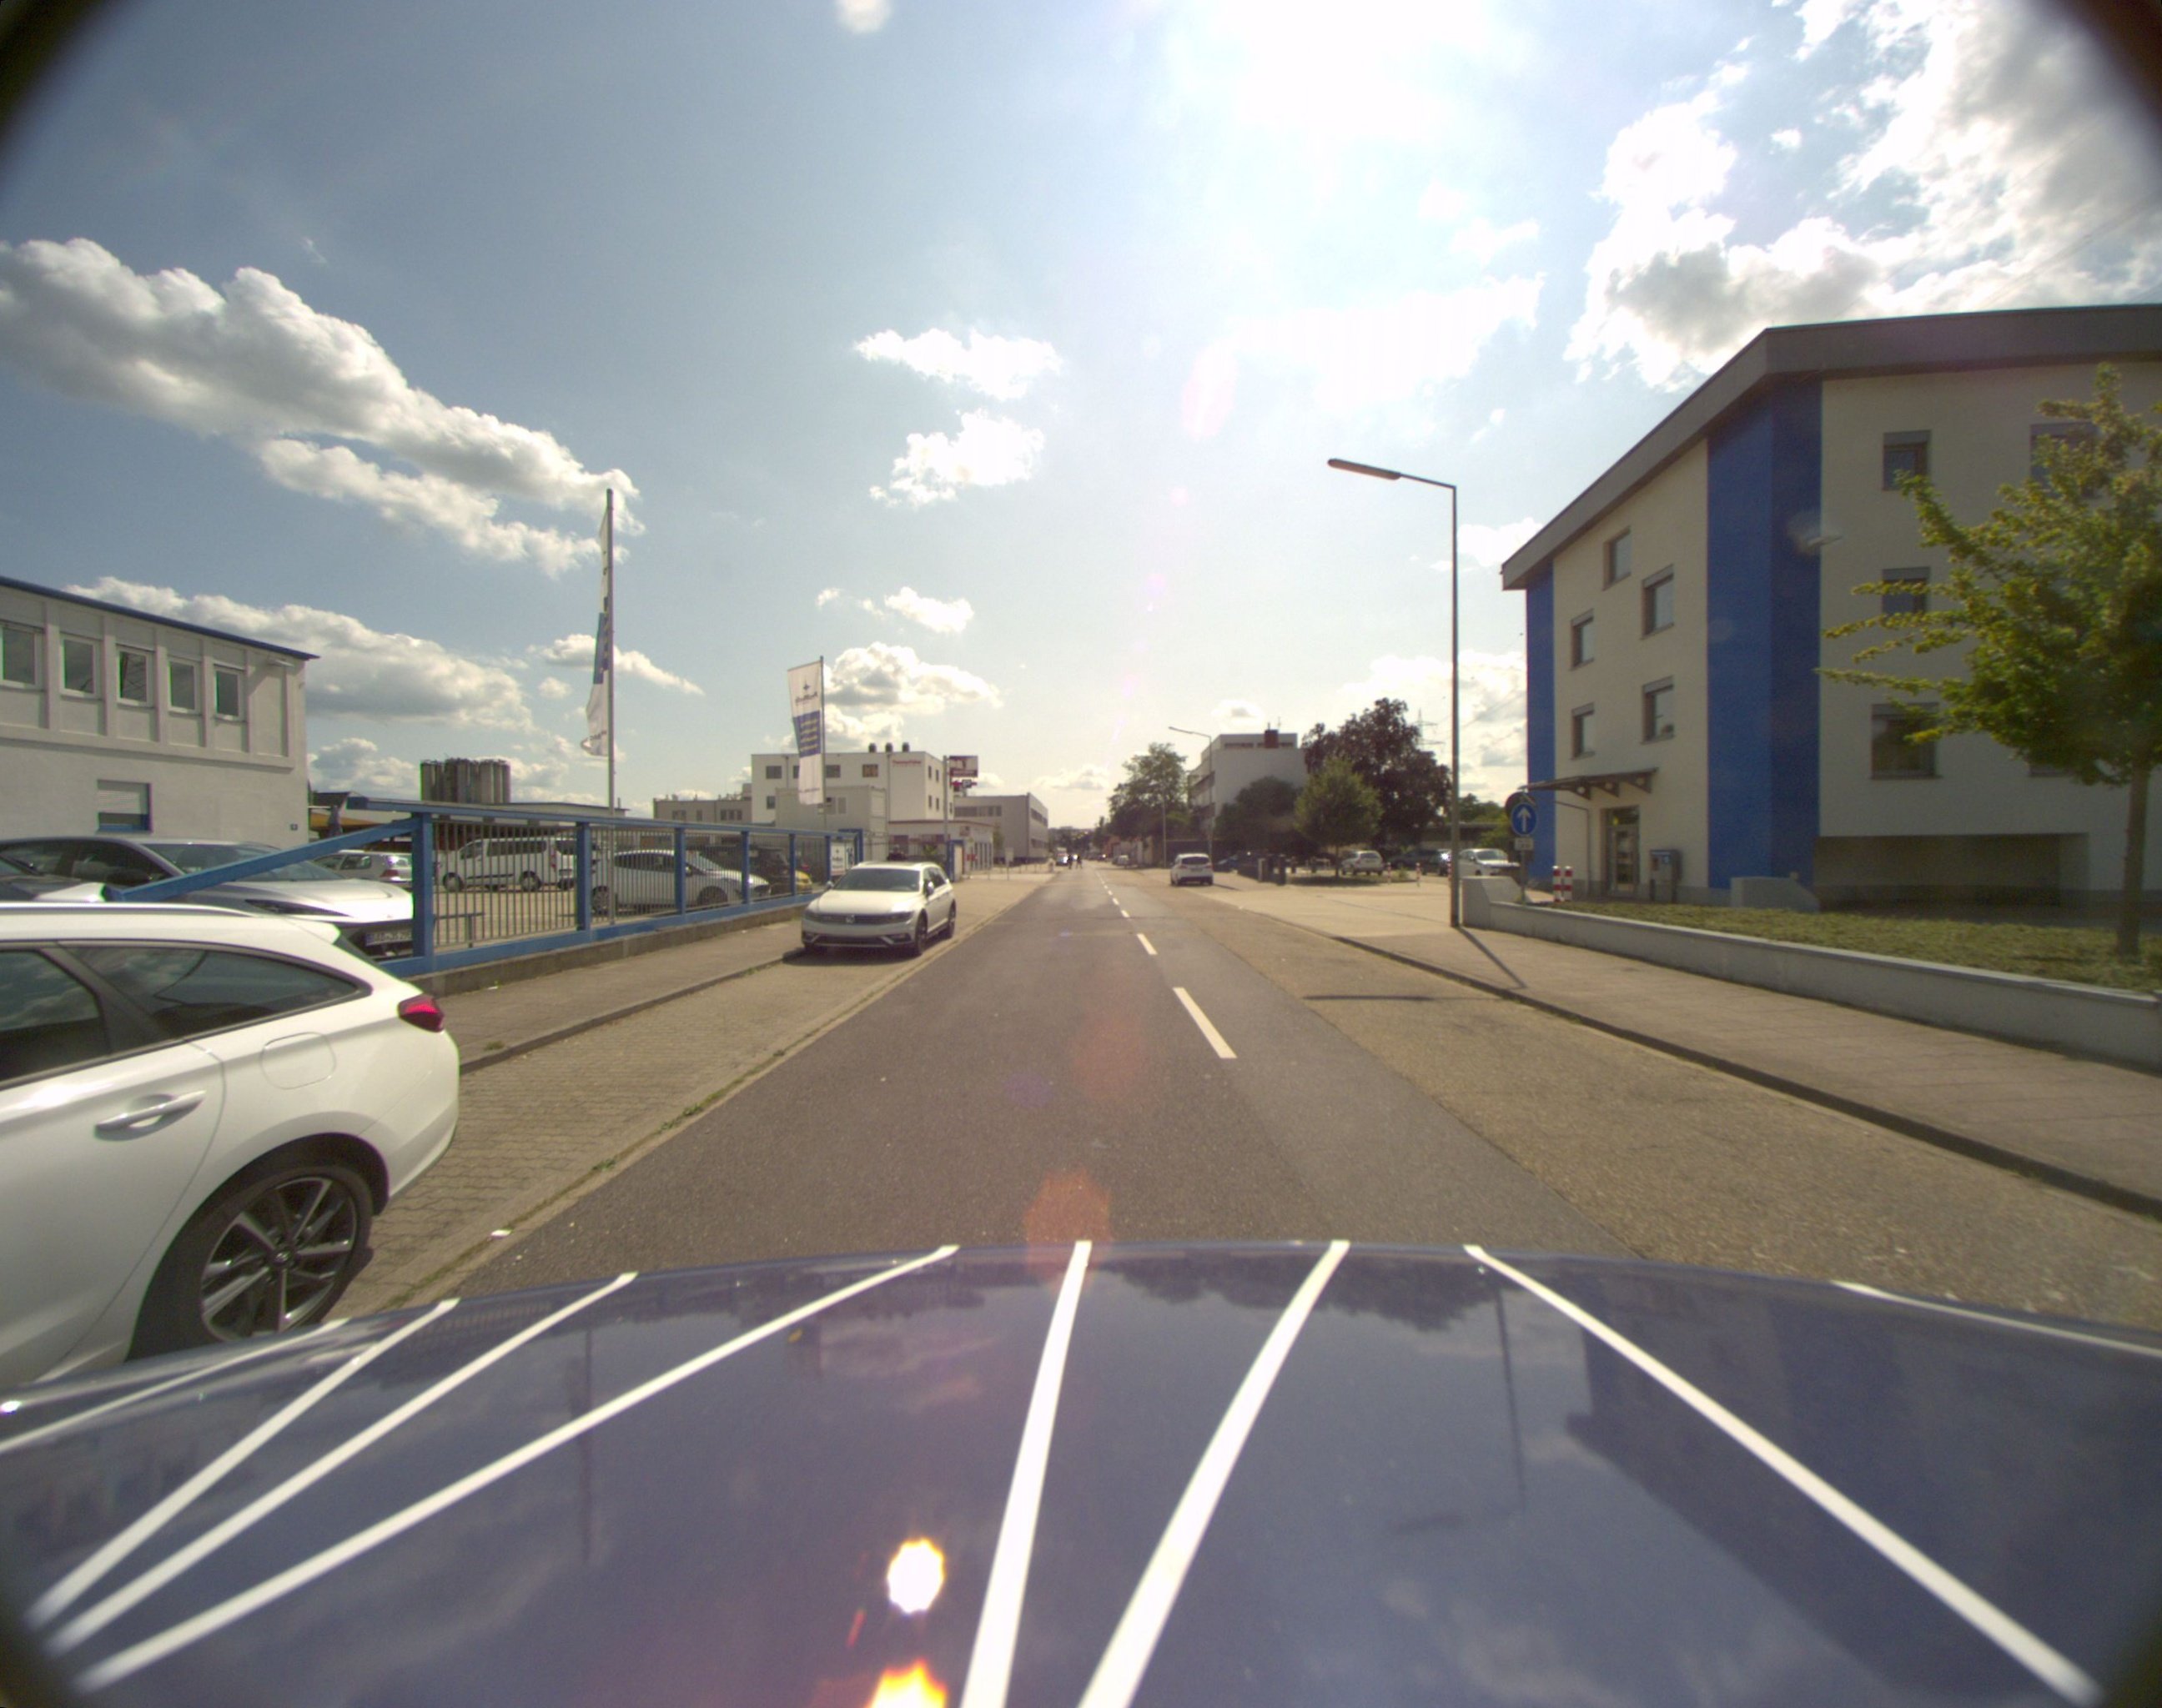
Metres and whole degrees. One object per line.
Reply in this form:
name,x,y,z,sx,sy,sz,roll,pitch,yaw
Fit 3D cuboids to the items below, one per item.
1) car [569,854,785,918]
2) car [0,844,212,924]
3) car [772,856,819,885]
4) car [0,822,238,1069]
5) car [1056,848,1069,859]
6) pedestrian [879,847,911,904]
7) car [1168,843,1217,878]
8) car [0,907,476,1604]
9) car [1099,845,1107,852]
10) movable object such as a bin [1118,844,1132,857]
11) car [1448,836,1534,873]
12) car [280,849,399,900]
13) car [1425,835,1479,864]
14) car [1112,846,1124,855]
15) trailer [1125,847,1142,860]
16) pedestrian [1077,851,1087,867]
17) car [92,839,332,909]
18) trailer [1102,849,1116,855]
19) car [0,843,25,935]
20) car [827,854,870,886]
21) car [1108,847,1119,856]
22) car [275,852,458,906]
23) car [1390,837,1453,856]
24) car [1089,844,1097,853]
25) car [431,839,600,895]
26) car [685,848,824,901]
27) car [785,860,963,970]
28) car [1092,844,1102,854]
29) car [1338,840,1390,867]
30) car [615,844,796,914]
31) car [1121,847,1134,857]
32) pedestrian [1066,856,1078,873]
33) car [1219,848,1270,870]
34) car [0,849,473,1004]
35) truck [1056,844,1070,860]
car,-9.392,0.716,17.921,3.997,1.412,2.000,0,0,1
car,-22.085,0.627,16.642,3.997,1.620,1.806,-1,0,0
car,-14.461,0.807,38.700,1.956,1.369,3.994,0,0,-16
car,-9.289,0.639,5.347,4.237,1.637,2.147,-1,0,-1
car,-2.698,-0.075,111.186,1.663,1.549,4.177,-4,1,1
pedestrian,-5.881,0.666,24.046,0.771,1.746,0.787,1,1,0
car,5.827,0.314,40.293,1.872,1.698,4.752,-2,1,0
car,-3.453,1.020,0.905,1.840,1.512,4.460,-1,1,0
car,4.990,-1.191,173.018,1.714,1.459,4.628,-4,1,-1
movable object such as a bin,6.778,-0.542,117.208,1.618,1.908,5.138,-5,0,0
car,17.647,0.013,32.917,1.877,1.498,3.759,-1,1,3
car,-28.480,0.745,29.323,1.417,1.758,3.162,-4,1,-1
car,22.604,-0.272,46.428,1.876,1.698,3.481,-1,1,7
car,6.110,-0.628,124.506,1.677,1.447,4.223,-3,1,0
trailer,6.529,-0.066,95.522,1.771,1.431,4.335,-4,1,1
pedestrian,0.124,0.583,89.106,0.860,1.797,1.003,-1,1,-22
car,-22.019,0.486,19.372,3.997,1.681,1.806,-1,0,0
trailer,5.700,-0.414,154.417,2.457,1.157,6.051,-3,1,0
car,-21.791,0.667,13.256,3.997,1.691,1.934,-1,0,0
car,-11.570,0.760,37.963,1.746,1.433,3.828,0,1,-13
car,5.670,-0.400,134.571,1.677,1.447,4.223,-3,1,0
car,-21.500,0.727,22.973,3.891,1.477,1.864,1,1,4
car,26.649,-0.574,59.538,4.207,1.493,1.681,0,1,5
car,3.721,-1.664,228.850,1.999,2.556,5.822,-4,1,-2
car,-21.273,0.458,28.726,4.690,1.925,2.276,-1,0,2
car,-9.788,0.582,22.954,3.412,1.481,1.791,1,1,0
car,-3.444,0.930,13.629,1.872,1.512,4.597,-1,1,0
car,4.244,-1.458,204.583,2.079,2.527,5.822,-4,1,-2
car,17.466,-0.059,47.121,1.828,1.627,4.846,0,1,5
car,-9.806,0.614,20.047,3.816,1.670,1.791,-1,1,0
car,6.801,-0.310,111.832,1.677,1.447,4.513,-3,1,1
pedestrian,-1.067,1.250,89.045,0.994,1.940,1.089,-1,1,-22
car,12.969,0.398,60.348,3.657,1.698,1.878,-1,1,0
car,-9.286,0.664,7.928,4.290,1.412,2.000,0,0,1
truck,-4.193,-0.479,172.796,2.608,3.207,8.073,-4,1,-5
